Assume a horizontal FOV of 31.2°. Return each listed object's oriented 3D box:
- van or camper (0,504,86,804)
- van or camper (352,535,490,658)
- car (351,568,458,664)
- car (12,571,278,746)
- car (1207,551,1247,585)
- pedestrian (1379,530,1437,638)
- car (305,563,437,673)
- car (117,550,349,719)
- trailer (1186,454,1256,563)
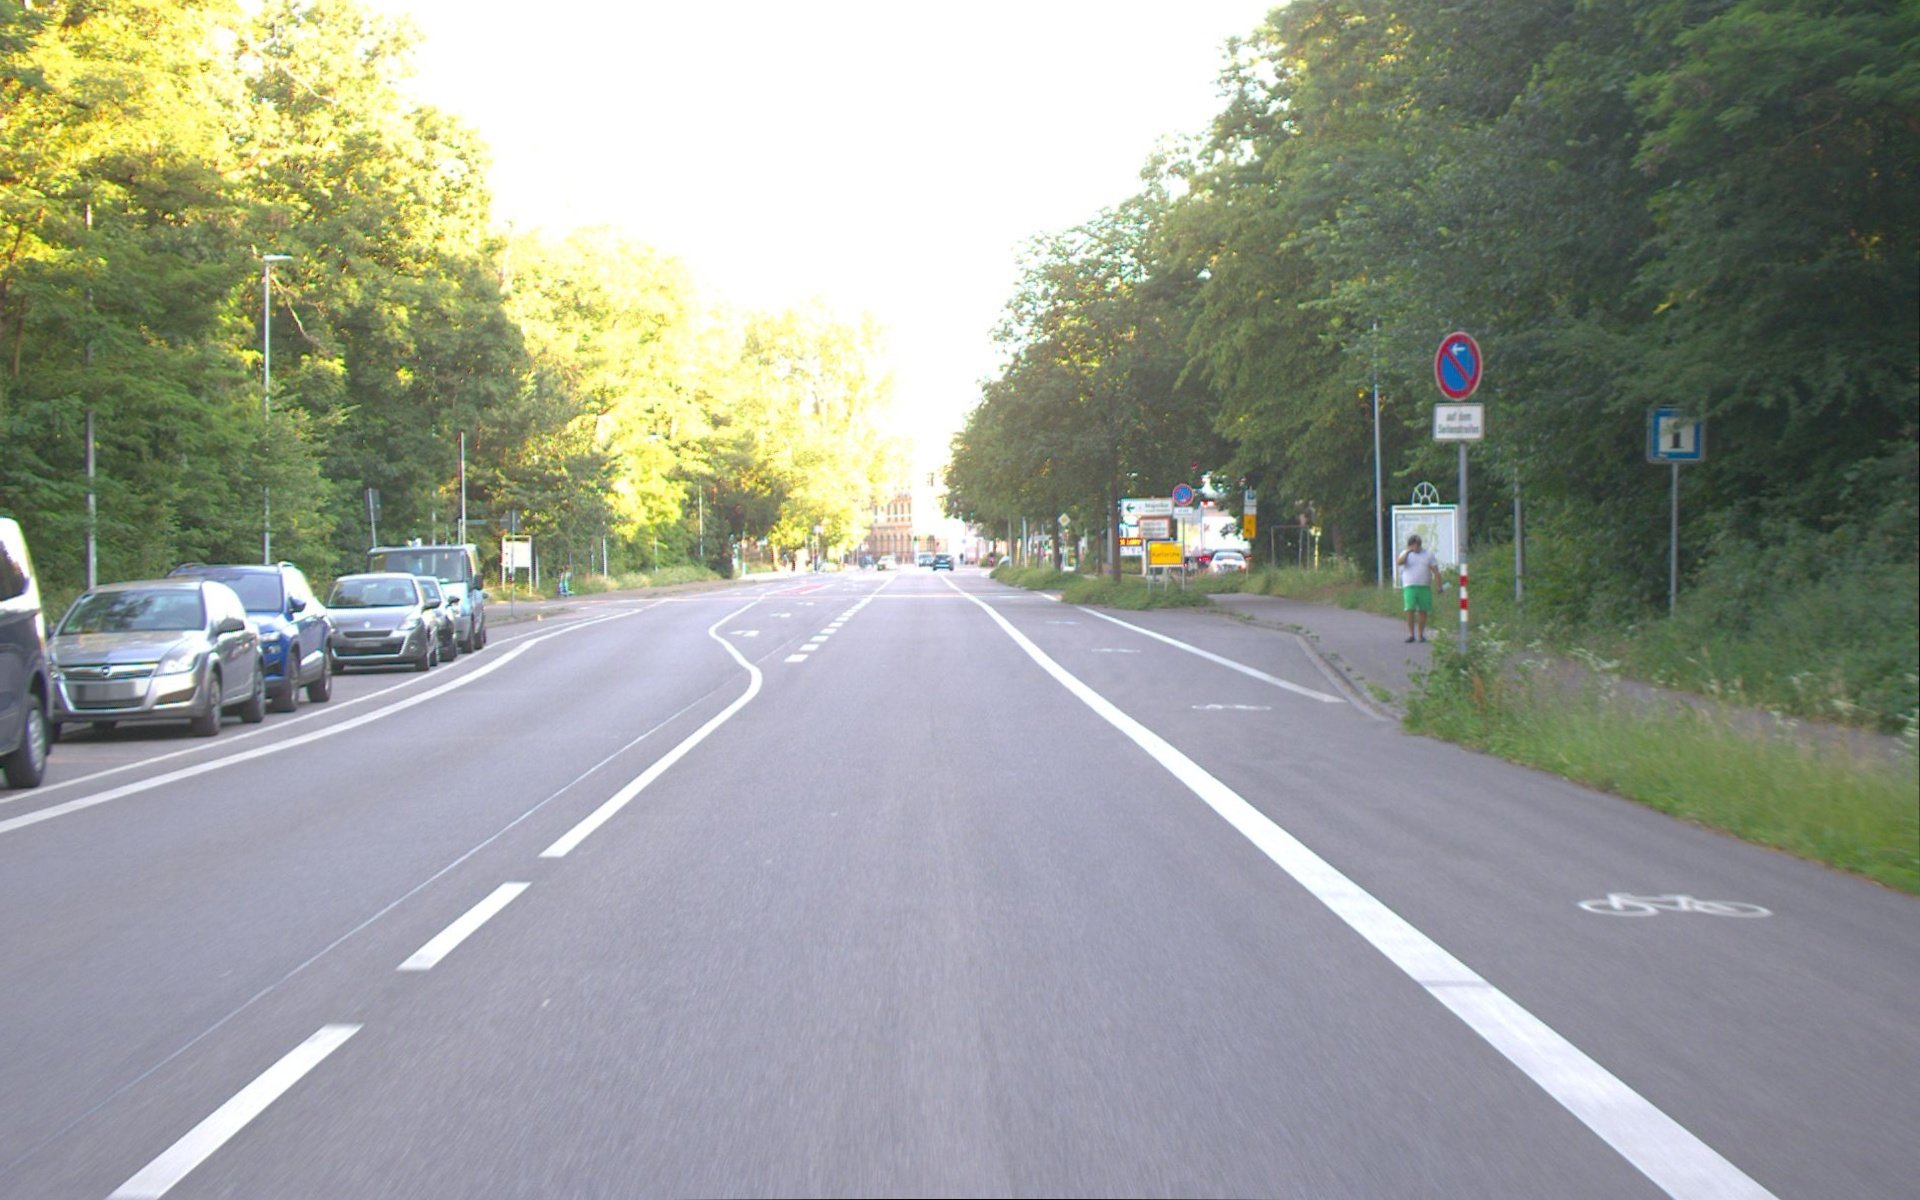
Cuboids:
[{"bbox_3d":[-7.461,0.413,22.923,2.002,2.011,5.462,-3,1,-3],"label":"van or camper"},{"bbox_3d":[-9.875,-0.093,63.345,2.031,2.087,5.015,-2,1,-4],"label":"van or camper"},{"bbox_3d":[-9.264,0.243,57.500,1.542,1.488,3.973,-2,1,-7],"label":"car"},{"bbox_3d":[-7.780,0.508,33.156,1.668,1.496,4.247,-2,1,-2],"label":"car"},{"bbox_3d":[12.735,-1.513,164.271,1.770,1.578,4.818,1,0,3],"label":"car"},{"bbox_3d":[7.300,-0.260,56.033,0.838,1.745,0.726,0,1,0],"label":"pedestrian"},{"bbox_3d":[-8.837,0.238,51.843,1.616,1.529,4.041,-2,1,-6],"label":"car"},{"bbox_3d":[-8.033,0.332,38.330,1.745,1.706,4.523,-2,1,-2],"label":"car"},{"bbox_3d":[13.374,-4.667,176.852,3.020,5.443,7.934,-1,1,0],"label":"trailer"}]
